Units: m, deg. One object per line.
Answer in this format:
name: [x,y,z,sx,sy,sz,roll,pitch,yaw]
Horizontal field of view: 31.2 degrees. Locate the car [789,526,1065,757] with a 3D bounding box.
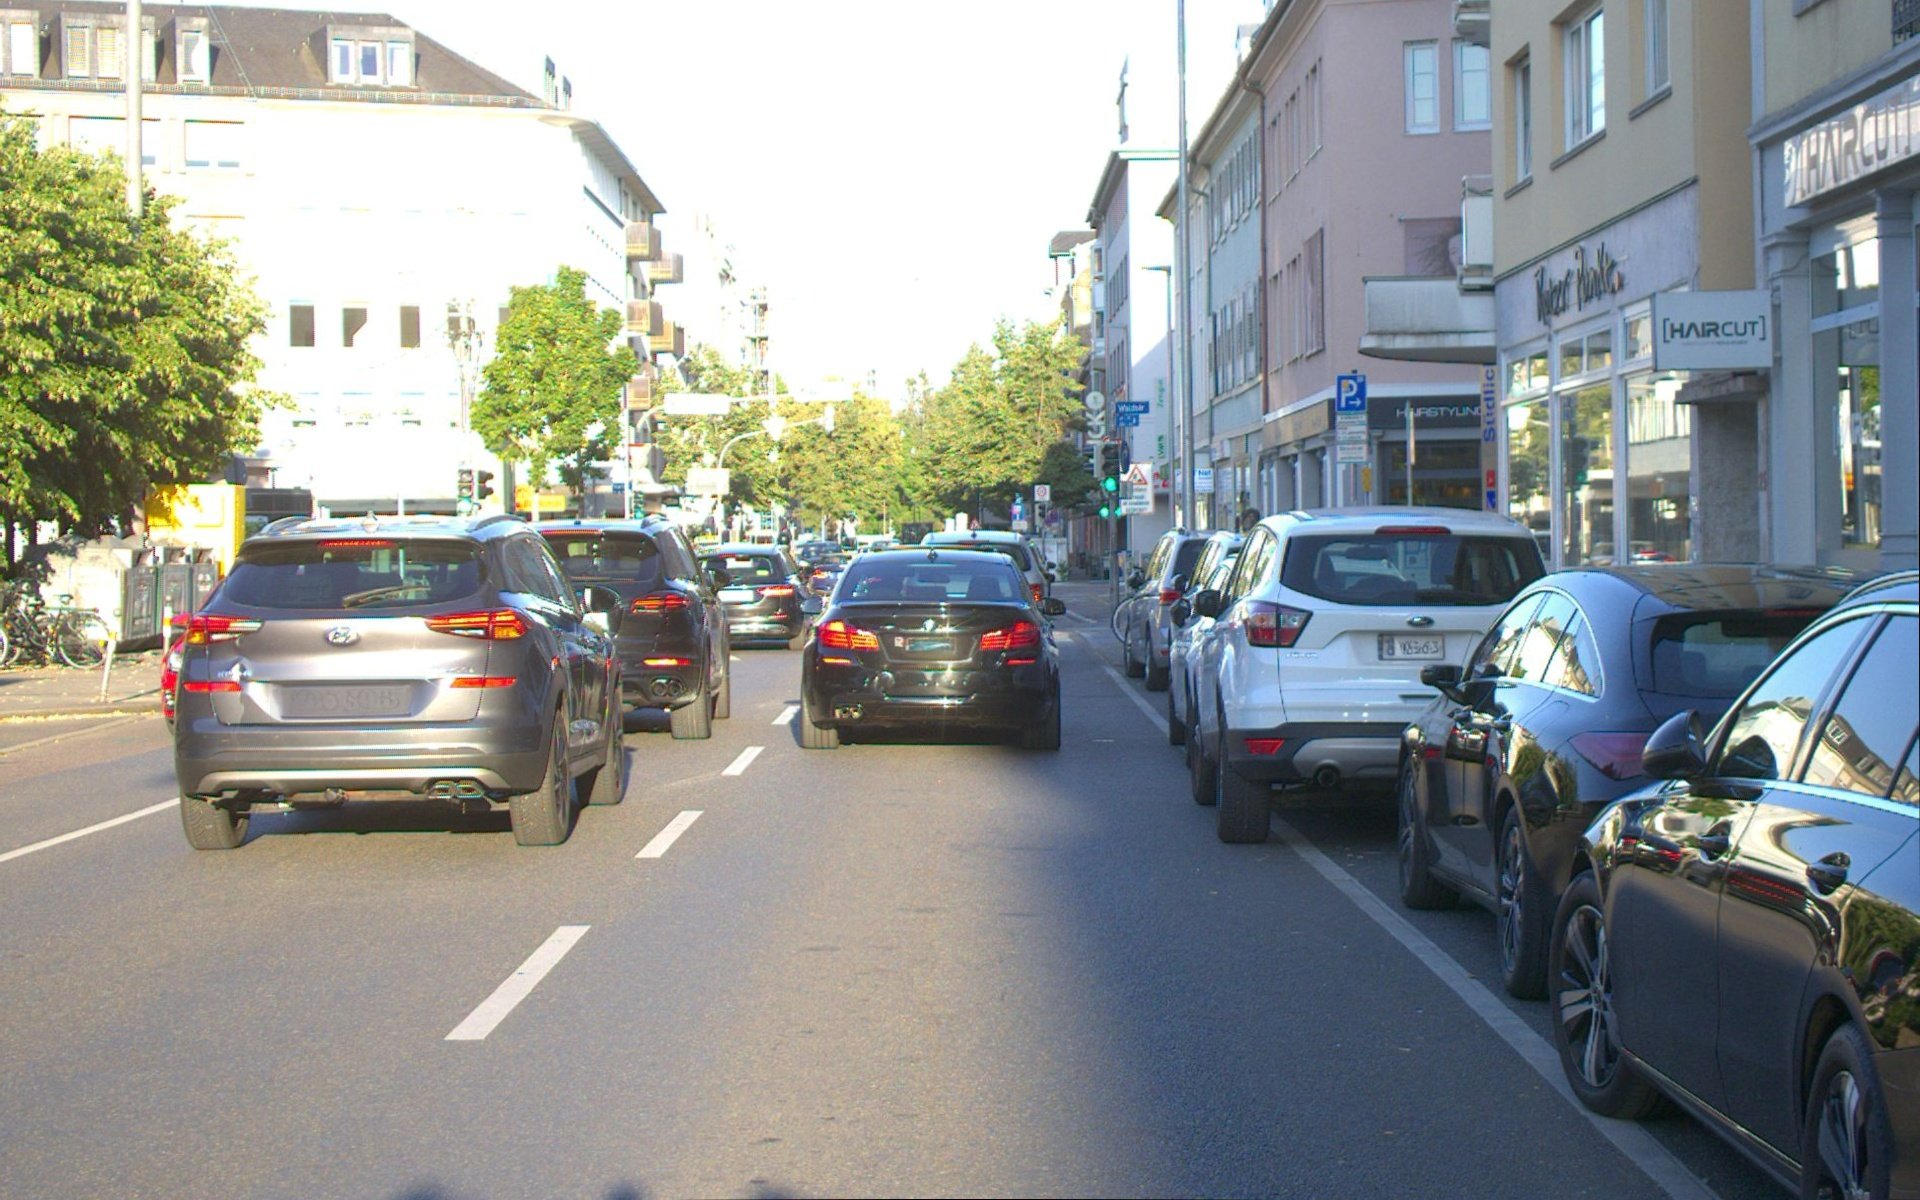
car: [-0.252,0.256,25.903,1.896,1.575,4.000,1,1,-1]

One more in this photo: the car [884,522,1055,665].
car: [0.087,-0.107,40.602,1.896,1.575,4.000,1,1,-1]

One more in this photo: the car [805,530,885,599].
car: [-2.647,-0.838,79.627,1.779,1.542,4.000,0,1,-1]

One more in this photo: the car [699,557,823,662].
car: [-3.102,0.121,54.140,1.779,1.542,4.000,0,1,-1]

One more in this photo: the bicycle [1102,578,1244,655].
bicycle: [2.738,0.206,44.231,1.768,0.963,0.490,1,1,25]

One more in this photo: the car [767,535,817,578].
car: [-6.466,-1.697,132.444,1.691,1.547,3.951,-3,1,0]

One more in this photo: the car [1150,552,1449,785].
car: [2.286,0.417,24.115,1.730,1.445,4.312,1,0,1]

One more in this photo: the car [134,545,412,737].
car: [-6.156,0.317,31.211,1.691,1.547,3.951,-3,1,0]

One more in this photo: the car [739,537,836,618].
car: [-3.391,-0.465,68.041,1.779,1.542,4.000,0,1,-1]

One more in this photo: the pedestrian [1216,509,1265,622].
pedestrian: [4.475,-0.554,54.874,0.699,1.805,0.635,0,1,-3]

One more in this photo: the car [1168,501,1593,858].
car: [2.109,0.354,18.354,1.730,1.645,4.284,1,0,0]

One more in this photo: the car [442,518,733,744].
car: [-2.850,0.190,27.130,1.896,1.644,4.104,0,1,-1]

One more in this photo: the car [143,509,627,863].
car: [-2.880,0.367,18.092,1.896,1.644,4.104,0,1,-1]

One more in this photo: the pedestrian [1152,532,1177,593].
pedestrian: [5.166,-0.959,86.919,0.632,1.528,0.701,0,1,3]

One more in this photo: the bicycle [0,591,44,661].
bicycle: [-12.669,0.304,43.829,1.825,0.850,0.484,2,1,-3]

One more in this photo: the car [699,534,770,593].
car: [-6.351,-1.058,97.142,1.691,1.547,3.951,-3,1,0]

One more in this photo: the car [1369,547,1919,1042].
car: [2.613,0.563,12.430,1.730,1.443,4.474,1,0,0]

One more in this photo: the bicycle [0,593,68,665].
bicycle: [-12.123,0.338,42.915,1.825,0.850,0.484,2,1,-3]

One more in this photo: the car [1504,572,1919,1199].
car: [2.378,0.683,7.269,1.730,1.443,4.524,1,0,0]

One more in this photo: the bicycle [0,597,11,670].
bicycle: [-12.341,0.363,41.113,1.825,0.850,0.484,2,1,-3]

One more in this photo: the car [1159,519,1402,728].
car: [2.691,0.174,29.617,1.730,1.646,3.829,1,0,1]

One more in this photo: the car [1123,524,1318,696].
car: [2.657,0.081,35.838,1.730,1.646,3.970,1,0,1]

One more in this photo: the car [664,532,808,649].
car: [-3.050,-0.162,47.437,1.779,1.542,4.000,0,1,-1]

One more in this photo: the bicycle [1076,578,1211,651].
bicycle: [2.442,0.188,45.727,1.766,0.963,0.490,0,1,5]

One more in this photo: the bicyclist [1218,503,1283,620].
bicyclist: [4.464,-0.597,52.826,0.832,1.771,0.608,1,1,27]

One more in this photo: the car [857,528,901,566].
car: [-3.298,-2.192,140.875,1.779,1.542,4.000,0,1,-1]

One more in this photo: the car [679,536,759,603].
car: [-6.035,-0.785,86.432,1.691,1.547,3.951,-3,1,0]
